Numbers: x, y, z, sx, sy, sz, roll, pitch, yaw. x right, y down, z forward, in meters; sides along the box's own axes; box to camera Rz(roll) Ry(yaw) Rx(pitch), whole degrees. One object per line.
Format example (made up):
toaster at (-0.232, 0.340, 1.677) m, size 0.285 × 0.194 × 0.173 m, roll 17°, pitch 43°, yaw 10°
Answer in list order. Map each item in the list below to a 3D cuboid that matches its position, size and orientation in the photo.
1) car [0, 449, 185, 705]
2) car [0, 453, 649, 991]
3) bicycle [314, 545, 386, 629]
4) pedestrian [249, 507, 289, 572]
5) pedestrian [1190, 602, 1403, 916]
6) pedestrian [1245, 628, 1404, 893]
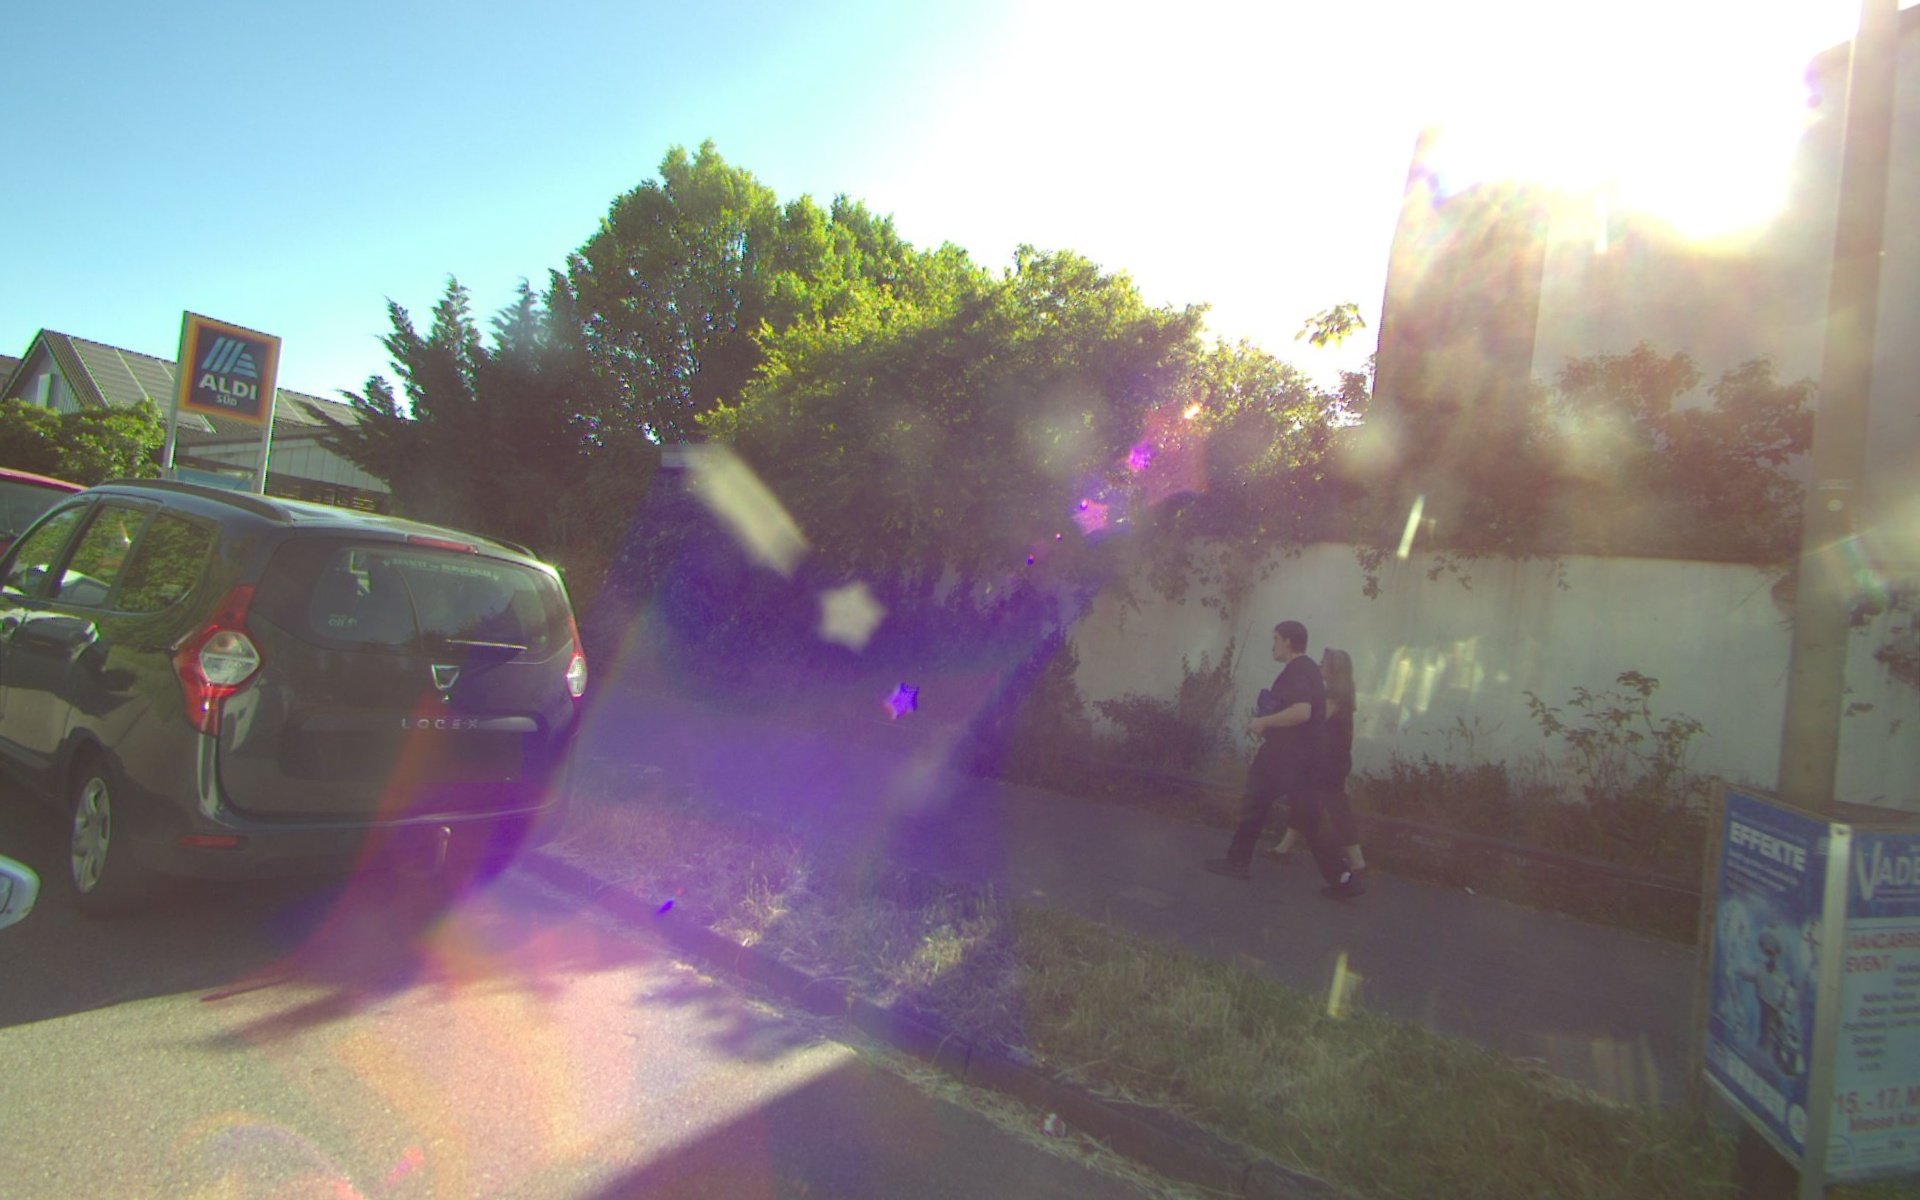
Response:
car at (-8.679, -0.371, 8.730) m, size 4.583 × 1.827 × 1.841 m, roll 7°, pitch -1°, yaw 37°
car at (-3.729, 0.279, 5.131) m, size 4.285 × 1.676 × 1.726 m, roll 7°, pitch -1°, yaw 36°
bicycle at (-9.890, -0.229, 16.275) m, size 0.716 × 1.236 × 1.877 m, roll 6°, pitch 0°, yaw -37°
pedestrian at (-18.838, -1.651, 27.431) m, size 0.687 × 1.651 × 0.770 m, roll 8°, pitch 0°, yaw -33°
pedestrian at (2.138, 0.942, 6.374) m, size 0.968 × 1.738 × 0.804 m, roll 5°, pitch 0°, yaw 33°
pedestrian at (2.496, 1.054, 6.887) m, size 0.780 × 1.629 × 0.573 m, roll 5°, pitch 0°, yaw 33°
